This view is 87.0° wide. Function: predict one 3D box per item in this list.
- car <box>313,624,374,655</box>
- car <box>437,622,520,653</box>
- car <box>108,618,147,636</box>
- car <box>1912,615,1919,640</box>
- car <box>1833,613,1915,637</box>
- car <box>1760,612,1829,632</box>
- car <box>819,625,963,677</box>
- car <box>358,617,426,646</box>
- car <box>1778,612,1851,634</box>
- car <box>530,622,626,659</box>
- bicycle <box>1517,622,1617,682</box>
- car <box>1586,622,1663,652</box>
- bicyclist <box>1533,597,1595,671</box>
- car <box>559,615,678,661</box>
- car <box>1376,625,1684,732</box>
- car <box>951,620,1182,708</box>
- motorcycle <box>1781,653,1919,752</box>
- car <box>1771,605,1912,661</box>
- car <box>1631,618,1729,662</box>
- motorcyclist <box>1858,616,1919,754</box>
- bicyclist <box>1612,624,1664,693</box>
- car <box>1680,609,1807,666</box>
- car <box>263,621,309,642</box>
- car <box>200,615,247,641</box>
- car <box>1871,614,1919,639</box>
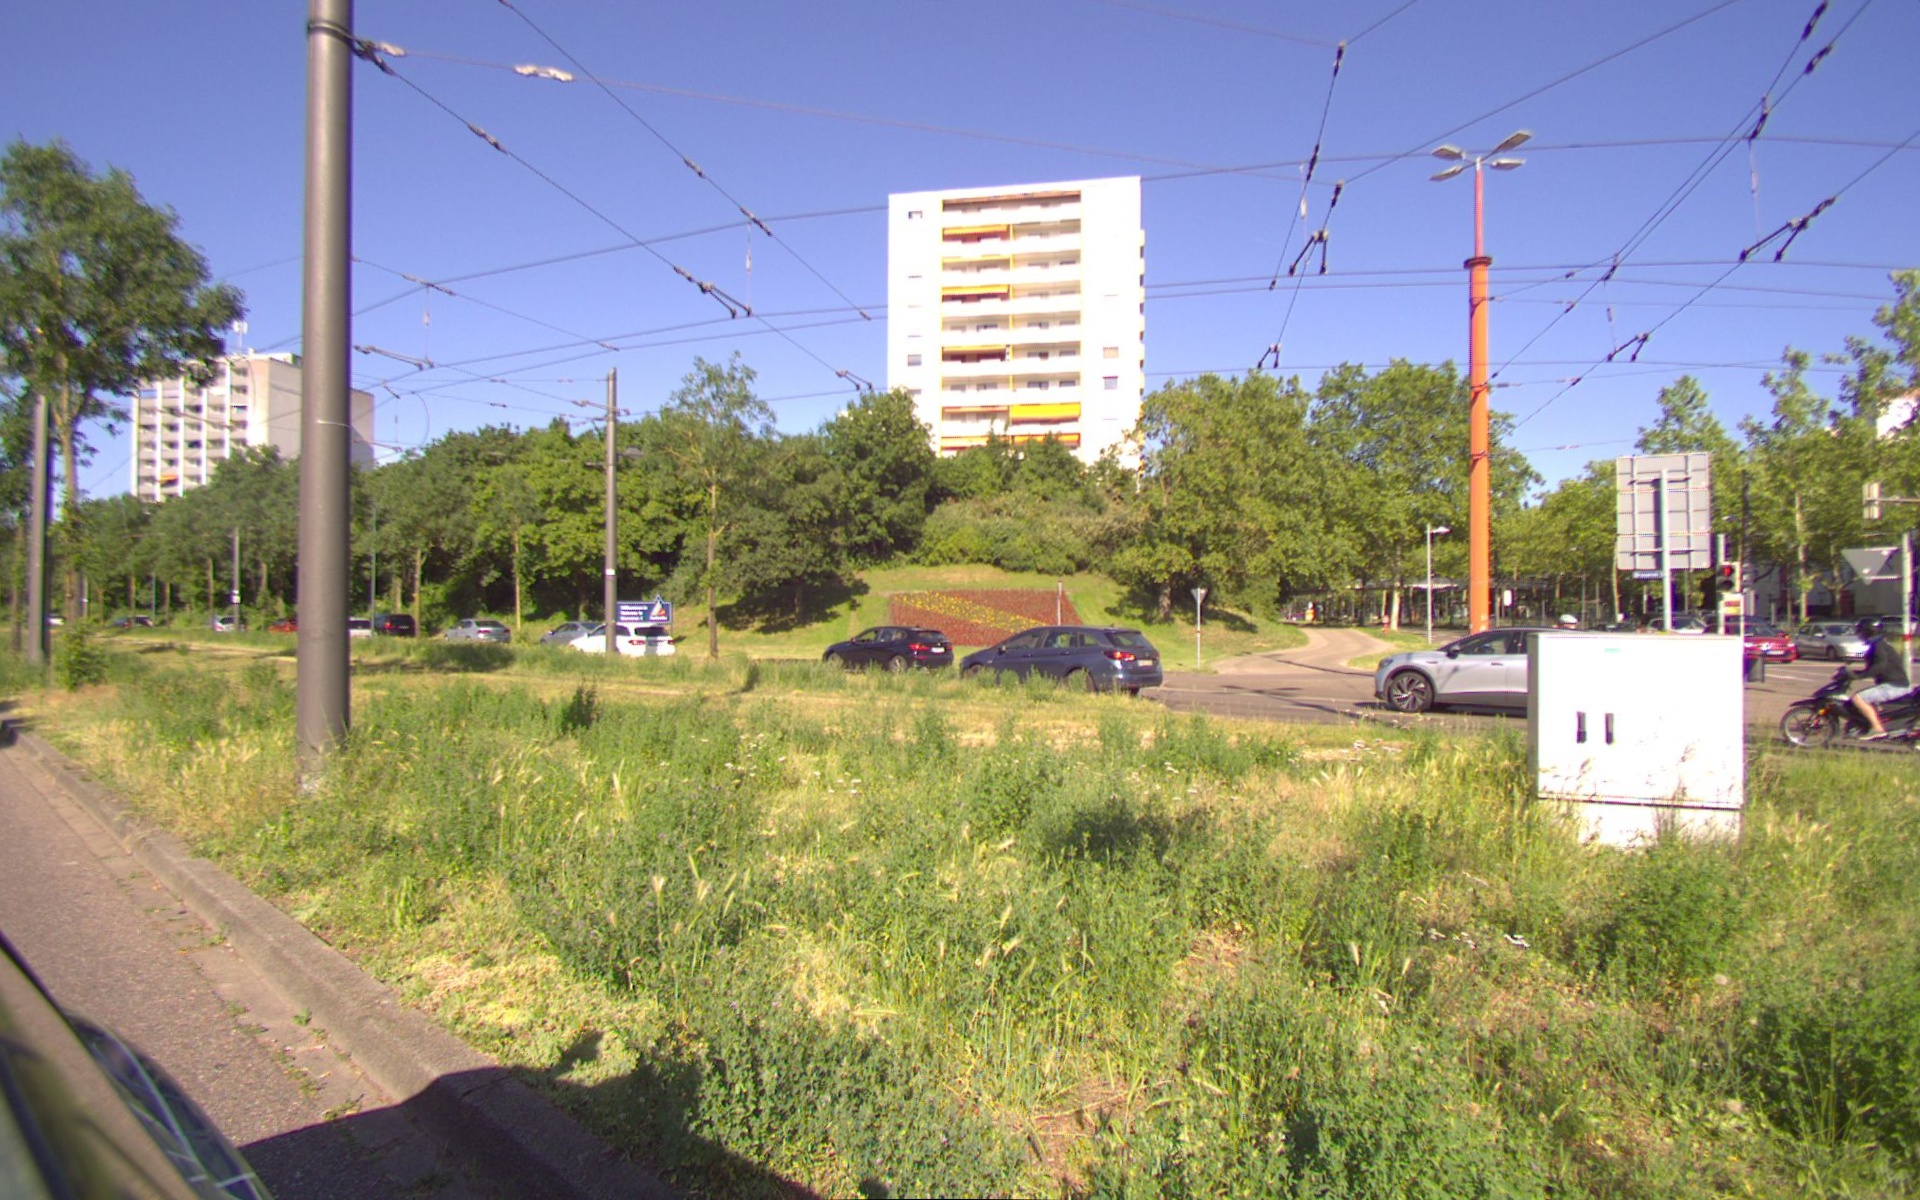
[{"bbox_3d":[-31.254,2.015,51.249,4.183,1.484,1.571,-3,-4,44],"label":"car"},{"bbox_3d":[-23.430,1.802,49.178,4.693,1.443,1.972,-1,-2,42],"label":"car"},{"bbox_3d":[-68.671,2.181,83.438,4.992,1.420,1.971,-1,0,44],"label":"car"},{"bbox_3d":[64.136,1.771,65.010,1.864,1.608,4.010,0,0,-34],"label":"car"},{"bbox_3d":[65.527,1.782,72.616,1.864,1.608,4.010,0,0,-34],"label":"car"},{"bbox_3d":[68.291,1.789,82.835,1.864,1.608,4.010,0,0,-34],"label":"car"},{"bbox_3d":[-2.025,1.427,29.021,4.030,1.352,1.841,-1,-2,42],"label":"car"},{"bbox_3d":[-31.693,1.735,56.428,4.631,1.492,1.972,-1,0,43],"label":"car"},{"bbox_3d":[67.064,1.790,79.510,1.864,1.608,4.010,0,0,-34],"label":"car"},{"bbox_3d":[-15.767,1.612,41.712,4.400,1.384,1.972,-1,0,43],"label":"car"},{"bbox_3d":[12.074,1.005,20.232,0.467,1.089,2.362,-1,0,-3],"label":"bicycle"},{"bbox_3d":[31.771,1.748,48.503,1.718,1.332,3.985,-1,0,11],"label":"car"},{"bbox_3d":[12.069,0.666,20.233,0.741,1.441,0.758,-1,0,-4],"label":"bicyclist"},{"bbox_3d":[-11.329,1.220,33.414,4.642,1.433,1.685,-1,-2,42],"label":"car"},{"bbox_3d":[9.930,1.267,17.875,4.439,1.613,1.817,-1,-2,44],"label":"car"},{"bbox_3d":[2.081,1.227,20.738,4.465,1.606,1.971,-1,-2,44],"label":"car"},{"bbox_3d":[11.548,1.268,12.538,0.416,1.140,2.098,0,0,-41],"label":"motorcycle"},{"bbox_3d":[32.026,1.149,36.958,1.979,1.915,4.259,-1,0,11],"label":"car"},{"bbox_3d":[30.656,1.666,43.231,1.893,1.763,3.985,-1,0,11],"label":"car"},{"bbox_3d":[11.524,1.013,12.419,0.825,1.611,0.641,0,0,-41],"label":"motorcyclist"},{"bbox_3d":[13.315,1.139,19.896,0.541,1.333,0.699,-1,0,3],"label":"bicyclist"},{"bbox_3d":[28.669,1.328,37.211,1.979,1.915,4.259,-1,0,11],"label":"car"},{"bbox_3d":[-44.873,2.048,67.347,4.177,1.307,1.639,-1,0,43],"label":"car"},{"bbox_3d":[-47.762,1.790,65.606,3.757,1.620,1.744,-1,-2,42],"label":"car"},{"bbox_3d":[64.817,1.777,68.716,1.864,1.608,4.010,0,0,-34],"label":"car"}]
